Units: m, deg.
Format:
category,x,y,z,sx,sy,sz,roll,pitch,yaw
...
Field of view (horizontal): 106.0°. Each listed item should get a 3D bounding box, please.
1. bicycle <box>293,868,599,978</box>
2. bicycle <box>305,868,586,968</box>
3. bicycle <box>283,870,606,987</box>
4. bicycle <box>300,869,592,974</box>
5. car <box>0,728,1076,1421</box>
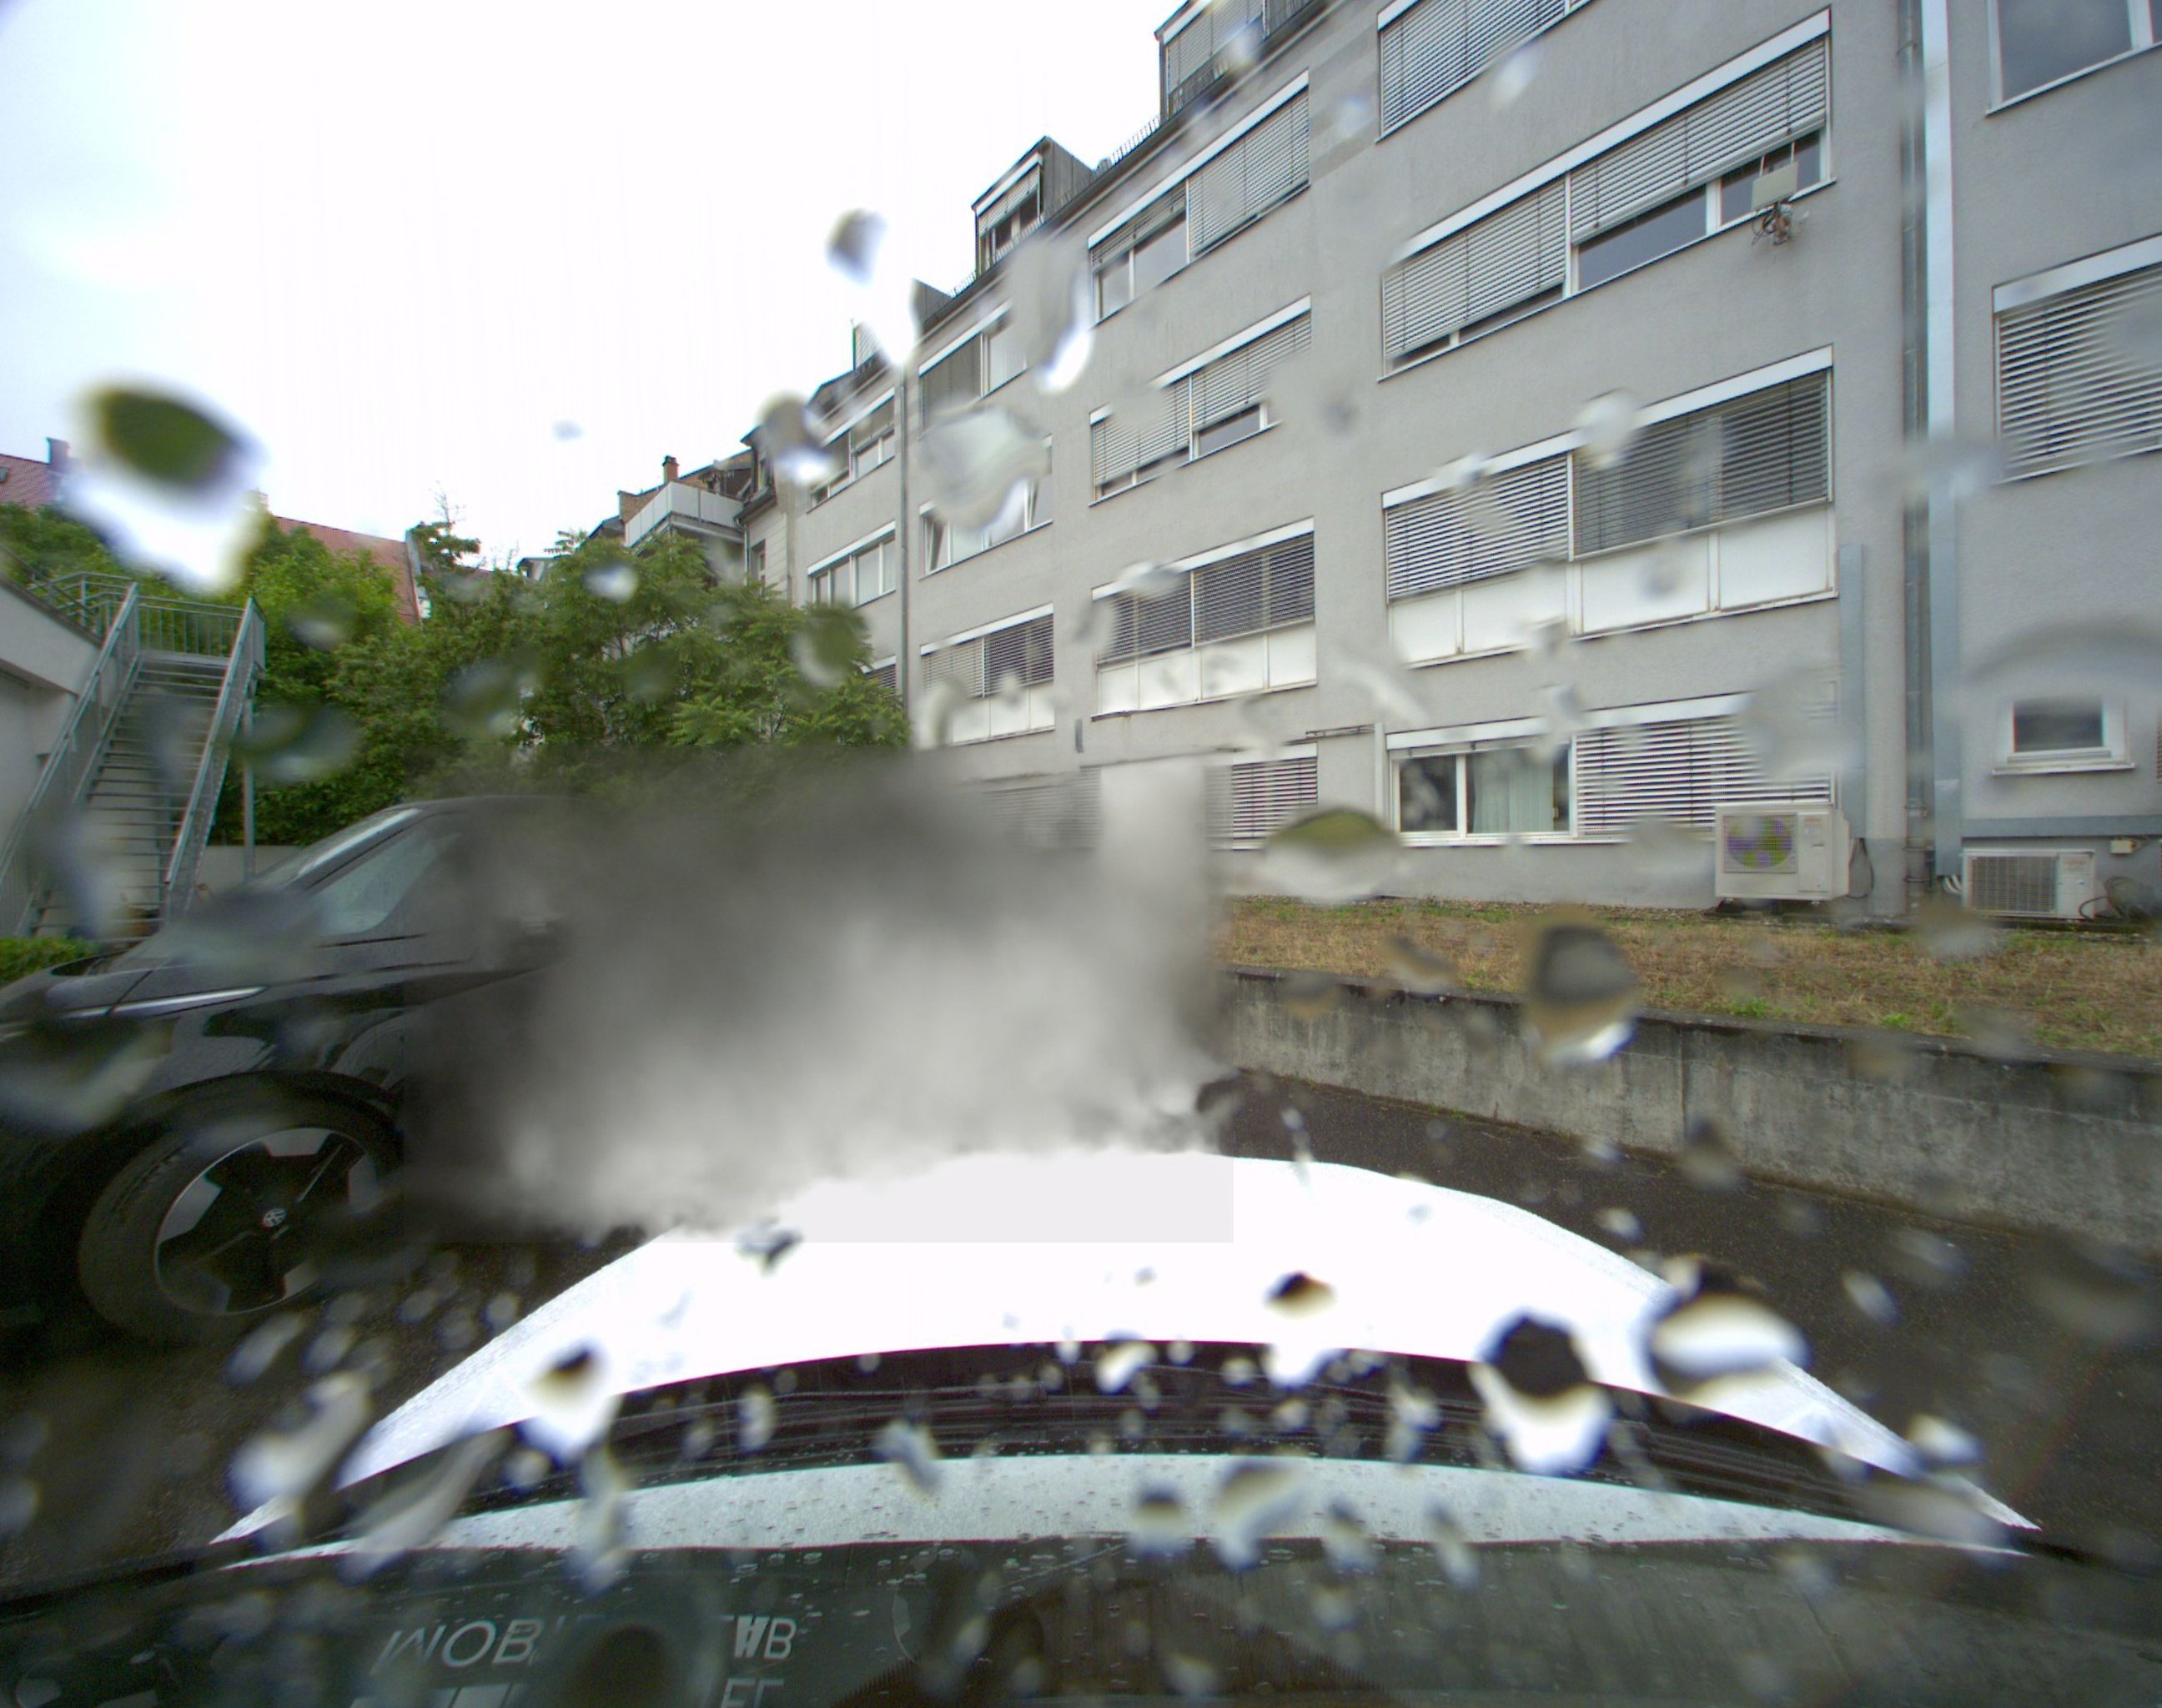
category,x,y,z,sx,sy,sz,roll,pitch,yaw
bicycle,-8.541,0.860,11.187,3.242,1.242,0.623,-1,-1,-42
bicycle,-9.365,0.886,12.206,3.242,1.242,0.623,-1,-1,-42
bicycle,-8.122,0.884,10.632,3.242,1.242,0.623,-1,-1,-42
bicycle,-8.957,0.888,11.706,3.242,1.242,0.623,-1,-1,-42
car,-2.344,0.593,4.399,2.020,1.897,4.550,-2,-1,43
